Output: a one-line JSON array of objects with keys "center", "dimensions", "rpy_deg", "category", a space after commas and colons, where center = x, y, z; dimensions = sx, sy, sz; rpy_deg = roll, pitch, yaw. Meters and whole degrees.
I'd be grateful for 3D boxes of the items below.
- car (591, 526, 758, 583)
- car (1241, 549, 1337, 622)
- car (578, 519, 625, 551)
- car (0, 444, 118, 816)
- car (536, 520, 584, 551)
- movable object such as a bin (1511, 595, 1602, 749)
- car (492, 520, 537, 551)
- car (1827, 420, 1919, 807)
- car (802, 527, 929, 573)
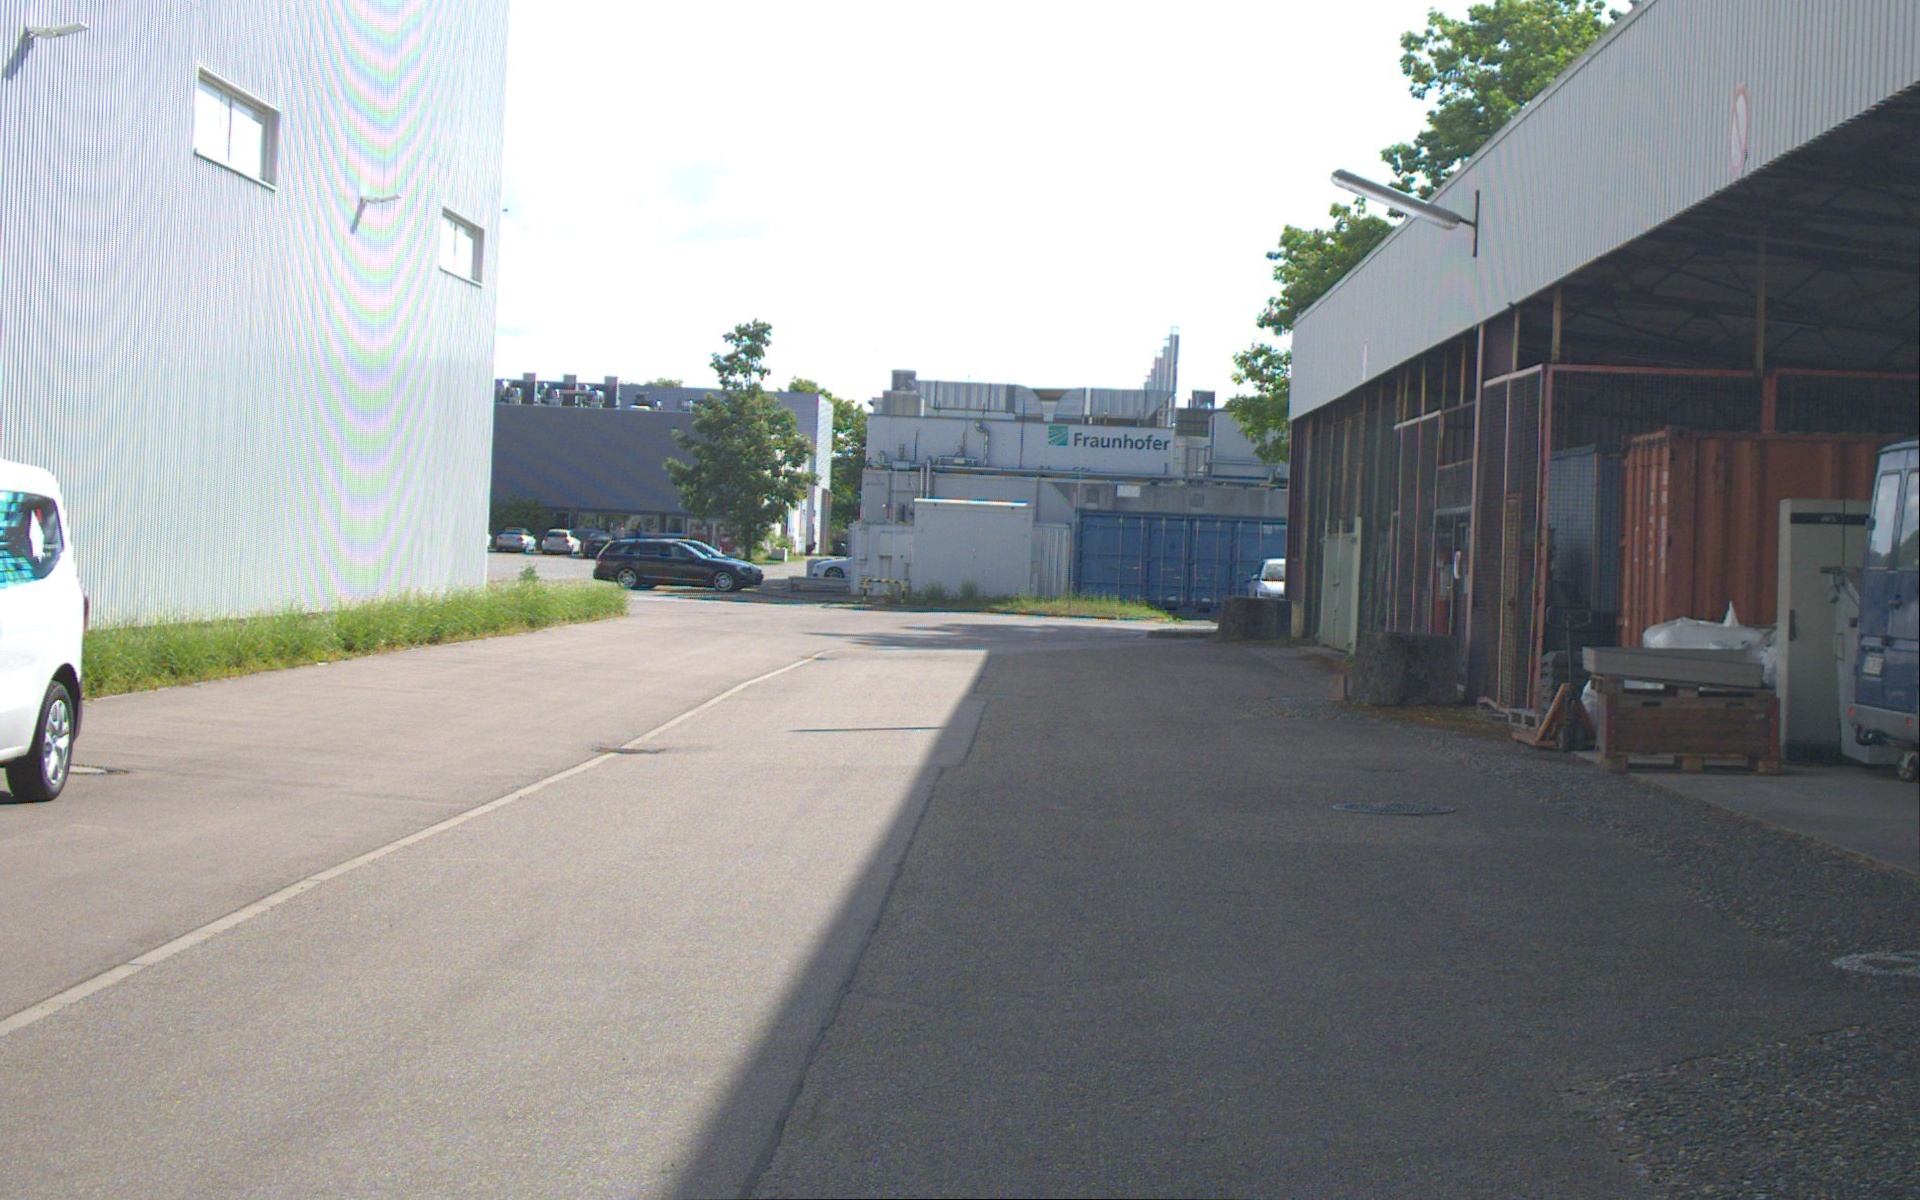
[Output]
[{"center": [-8.194, -1.307, 98.917], "dimensions": [4.526, 1.503, 1.909], "rpy_deg": [2, 1, 3], "category": "car"}, {"center": [8.169, -0.379, 85.737], "dimensions": [1.993, 1.580, 4.173], "rpy_deg": [2, 2, 1], "category": "car"}, {"center": [-20.308, -3.666, 194.668], "dimensions": [2.193, 1.730, 4.000], "rpy_deg": [1, 1, 1], "category": "car"}, {"center": [-5.647, 0.090, 16.651], "dimensions": [1.890, 1.839, 4.358], "rpy_deg": [4, 1, 1], "category": "car"}, {"center": [-22.829, -3.683, 196.446], "dimensions": [2.193, 1.730, 4.000], "rpy_deg": [1, 1, 1], "category": "car"}, {"center": [4.730, 0.556, 27.302], "dimensions": [0.582, 1.160, 1.238], "rpy_deg": [1, 1, 5], "category": "movable object such as a bin"}, {"center": [-25.422, -3.681, 196.170], "dimensions": [1.993, 1.730, 4.000], "rpy_deg": [1, 1, 1], "category": "car"}, {"center": [8.196, 0.151, 21.523], "dimensions": [4.979, 2.317, 2.000], "rpy_deg": [2, 1, 2], "category": "car"}, {"center": [-3.463, -1.837, 126.396], "dimensions": [4.526, 1.503, 1.909], "rpy_deg": [2, 1, 2], "category": "car"}]
